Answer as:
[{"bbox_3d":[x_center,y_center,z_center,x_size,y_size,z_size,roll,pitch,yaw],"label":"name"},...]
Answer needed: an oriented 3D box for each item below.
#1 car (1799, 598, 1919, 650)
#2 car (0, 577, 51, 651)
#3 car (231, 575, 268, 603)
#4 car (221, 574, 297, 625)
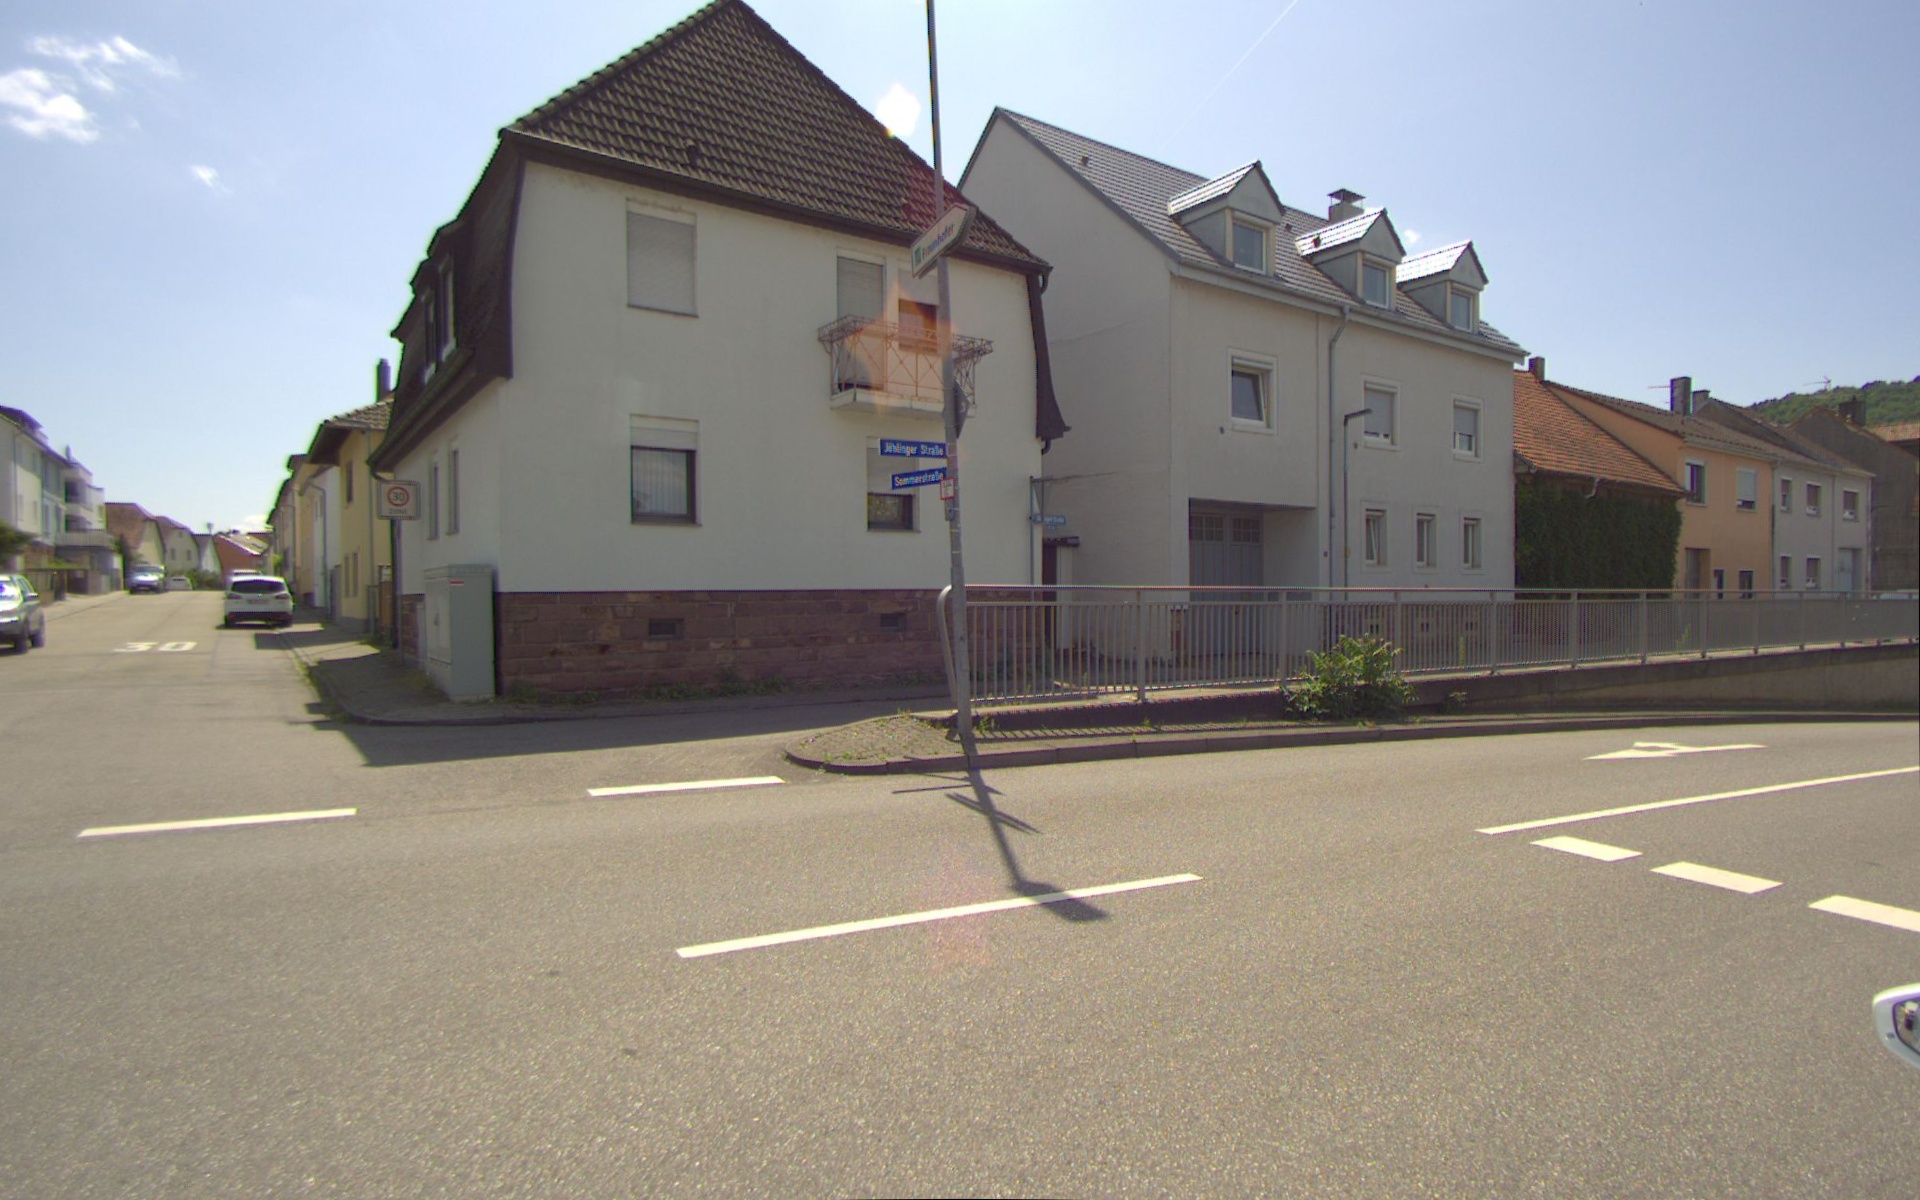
[{"bbox_3d":[27.166,0.728,30.287,4.348,1.424,1.774,1,0,-35],"label":"car"},{"bbox_3d":[-20.988,0.267,21.579,1.774,1.487,3.733,-3,3,-37],"label":"car"},{"bbox_3d":[-42.142,-0.680,59.548,1.629,1.591,3.957,1,0,-37],"label":"car"},{"bbox_3d":[-23.541,-0.036,33.682,1.937,1.617,3.957,1,0,-37],"label":"car"}]
